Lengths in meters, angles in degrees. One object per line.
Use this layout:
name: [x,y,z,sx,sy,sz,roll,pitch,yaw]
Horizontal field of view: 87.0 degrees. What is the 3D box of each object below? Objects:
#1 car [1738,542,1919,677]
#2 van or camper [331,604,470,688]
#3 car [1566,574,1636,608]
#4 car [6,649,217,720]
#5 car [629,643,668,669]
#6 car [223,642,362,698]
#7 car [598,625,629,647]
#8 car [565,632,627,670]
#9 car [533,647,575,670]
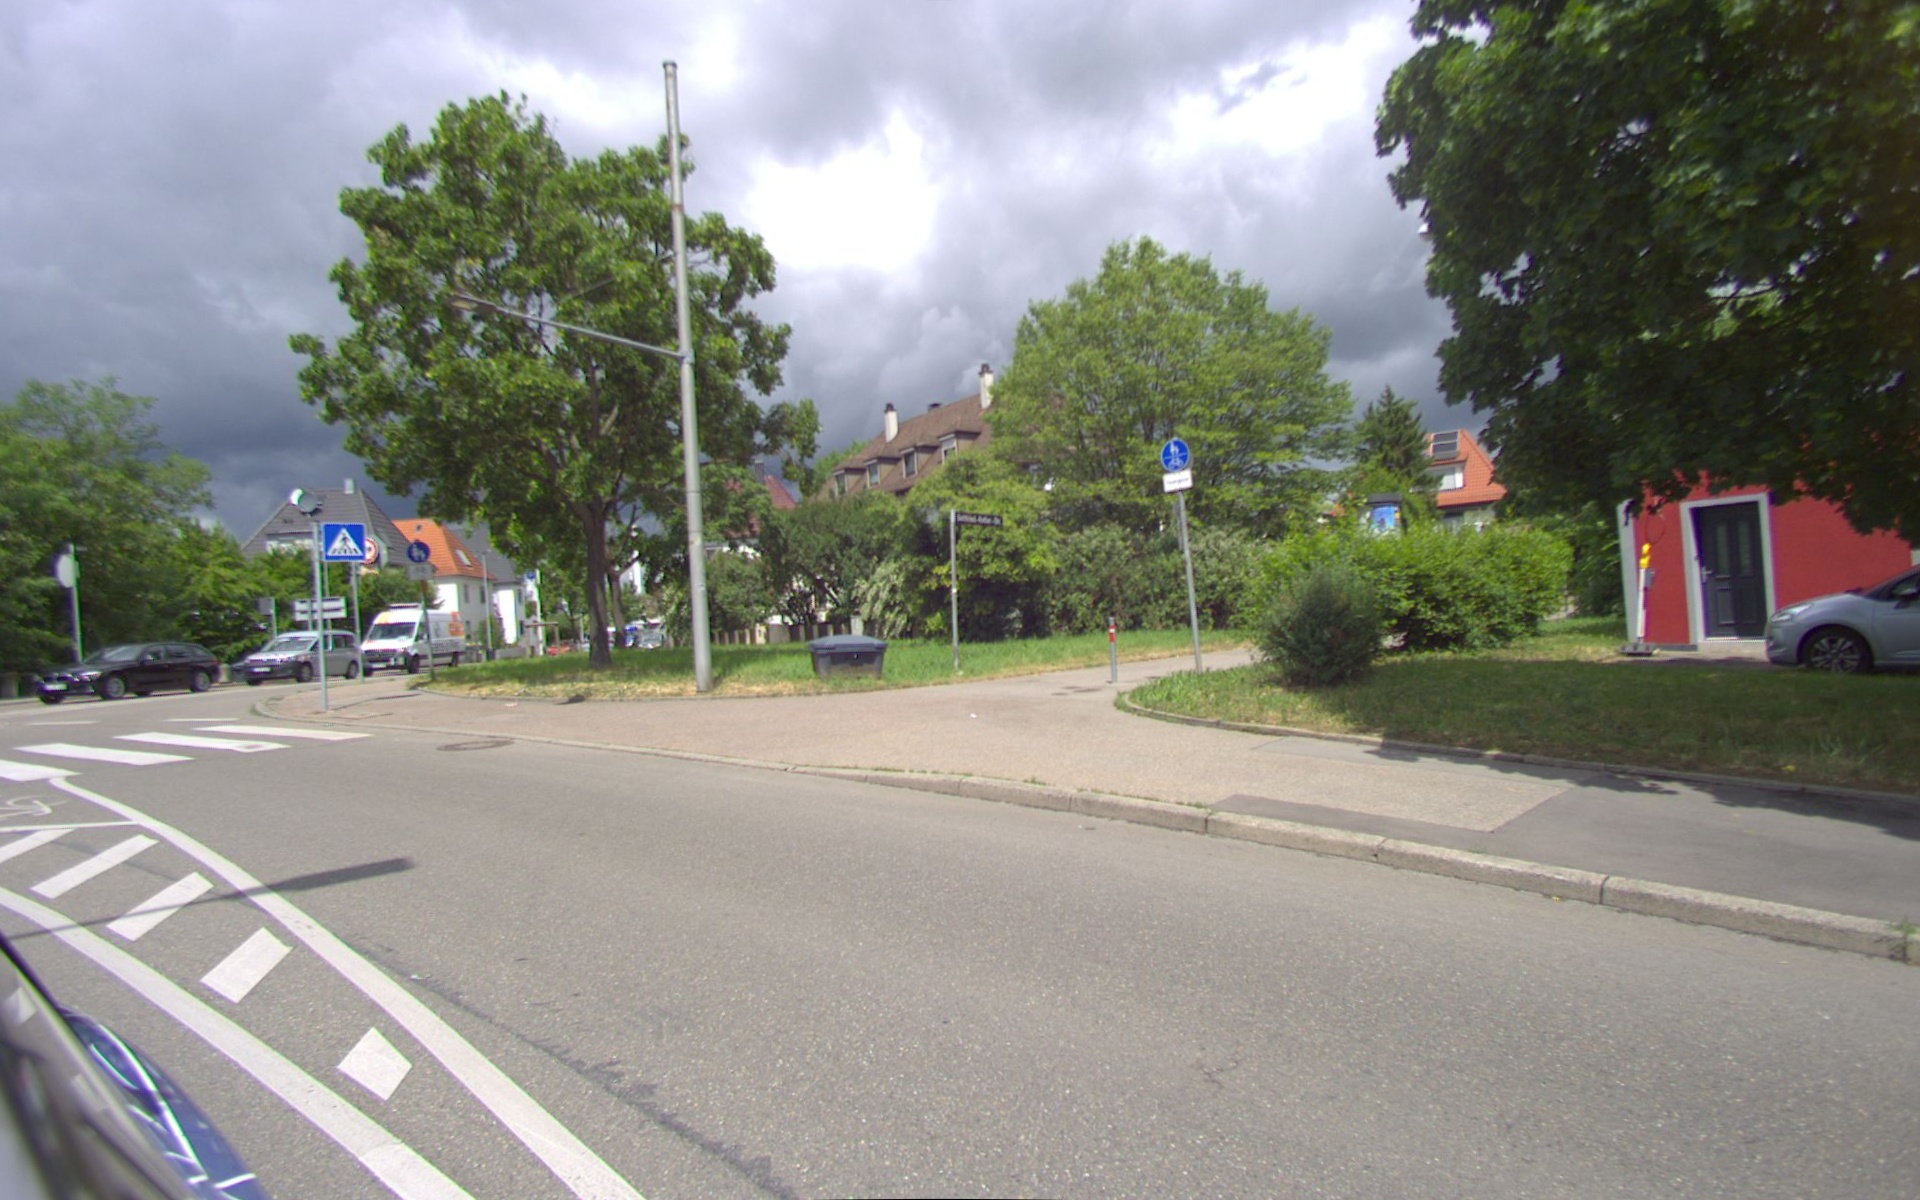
car: [11.259,0.060,11.034,1.619,1.436,4.087,-4,1,-36]
van or camper: [-23.037,2.037,42.211,2.236,3.018,8.340,-4,-4,-9]
car: [29.737,-0.432,46.924,3.941,1.430,1.885,-3,1,-45]
car: [-21.635,2.102,26.066,1.971,1.485,4.231,-4,-2,-2]
car: [-22.951,4.129,74.765,1.969,1.599,4.408,-3,0,-7]
car: [-22.475,2.307,34.310,1.970,1.600,4.404,-4,-2,-4]
car: [-34.434,3.588,100.781,1.969,1.943,4.408,-3,-2,-7]
car: [-19.992,2.770,55.789,2.198,1.821,4.408,-3,-1,-7]
car: [-31.871,4.577,79.548,1.969,1.600,4.408,-3,-2,-7]
